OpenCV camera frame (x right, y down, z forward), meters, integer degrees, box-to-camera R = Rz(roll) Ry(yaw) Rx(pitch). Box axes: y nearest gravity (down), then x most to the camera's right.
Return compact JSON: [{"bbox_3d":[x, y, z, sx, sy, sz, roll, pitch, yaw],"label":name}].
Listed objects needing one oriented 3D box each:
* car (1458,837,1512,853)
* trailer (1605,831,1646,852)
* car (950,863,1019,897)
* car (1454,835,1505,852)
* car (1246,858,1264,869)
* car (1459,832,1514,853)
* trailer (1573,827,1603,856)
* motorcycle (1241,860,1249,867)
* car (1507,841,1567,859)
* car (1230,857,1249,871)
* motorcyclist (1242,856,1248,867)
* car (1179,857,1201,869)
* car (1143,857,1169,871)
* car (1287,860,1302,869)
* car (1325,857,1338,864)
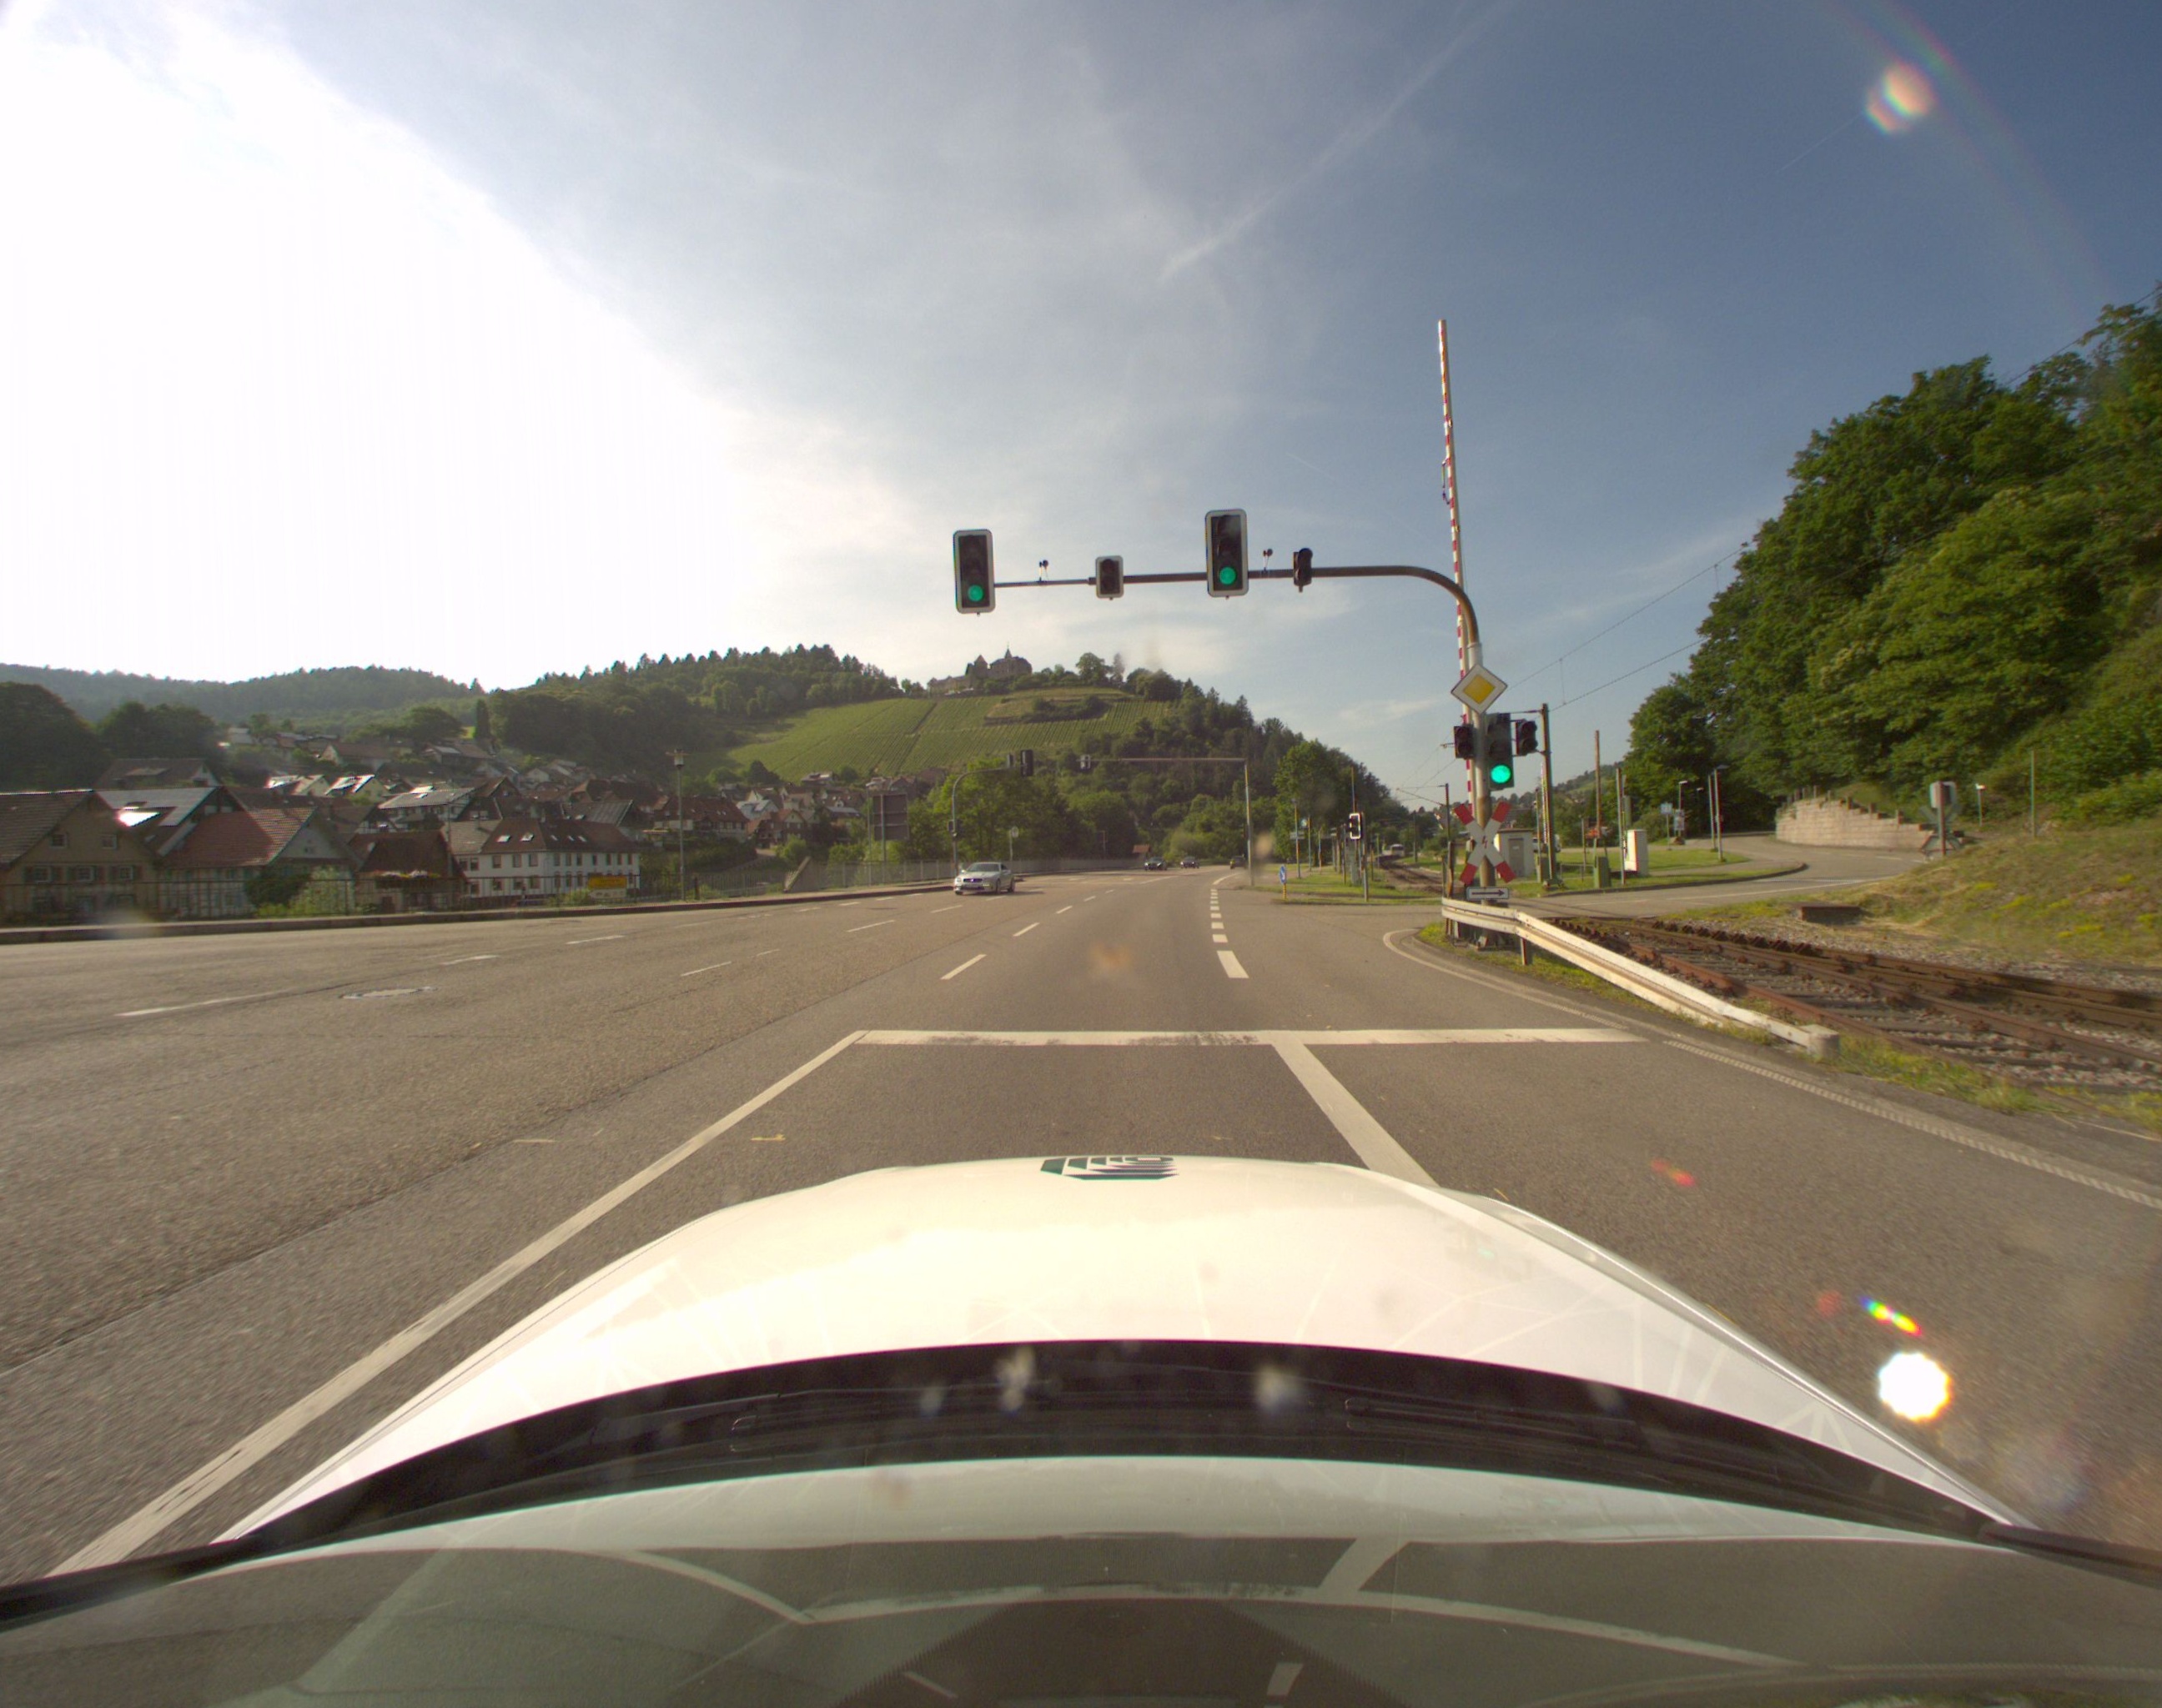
[{"bbox_3d":[42.909,-0.943,86.598,4.910,1.587,2.152,-2,0,19],"label":"car"},{"bbox_3d":[61.853,-1.452,92.584,3.656,2.190,1.830,-3,-2,38],"label":"trailer"},{"bbox_3d":[-3.817,1.000,32.762,1.635,1.231,4.105,-1,0,10],"label":"car"},{"bbox_3d":[44.684,-1.136,91.397,4.910,1.691,1.945,-2,0,19],"label":"car"},{"bbox_3d":[24.065,1.268,112.650,1.825,1.459,3.731,-3,-1,19],"label":"car"},{"bbox_3d":[41.947,-1.169,84.377,4.910,1.943,2.152,-2,0,19],"label":"car"},{"bbox_3d":[72.906,-1.842,116.986,2.581,3.894,7.781,-4,-2,39],"label":"trailer"},{"bbox_3d":[27.643,1.578,137.311,0.964,1.221,2.585,0,0,20],"label":"motorcycle"},{"bbox_3d":[37.937,-0.330,67.839,4.062,1.398,1.818,-2,0,19],"label":"car"},{"bbox_3d":[18.204,1.121,93.333,1.715,1.457,3.425,-3,-1,16],"label":"car"},{"bbox_3d":[27.593,1.285,137.236,0.837,1.784,1.178,-1,0,21],"label":"motorcyclist"},{"bbox_3d":[13.742,1.088,102.644,1.770,1.479,4.778,-1,0,20],"label":"car"},{"bbox_3d":[7.858,0.987,84.749,1.757,1.377,4.665,0,0,18],"label":"car"},{"bbox_3d":[37.987,1.824,144.873,1.790,1.453,3.668,-4,-2,25],"label":"car"},{"bbox_3d":[51.151,1.335,166.230,1.791,1.408,3.796,-4,-2,28],"label":"car"}]
